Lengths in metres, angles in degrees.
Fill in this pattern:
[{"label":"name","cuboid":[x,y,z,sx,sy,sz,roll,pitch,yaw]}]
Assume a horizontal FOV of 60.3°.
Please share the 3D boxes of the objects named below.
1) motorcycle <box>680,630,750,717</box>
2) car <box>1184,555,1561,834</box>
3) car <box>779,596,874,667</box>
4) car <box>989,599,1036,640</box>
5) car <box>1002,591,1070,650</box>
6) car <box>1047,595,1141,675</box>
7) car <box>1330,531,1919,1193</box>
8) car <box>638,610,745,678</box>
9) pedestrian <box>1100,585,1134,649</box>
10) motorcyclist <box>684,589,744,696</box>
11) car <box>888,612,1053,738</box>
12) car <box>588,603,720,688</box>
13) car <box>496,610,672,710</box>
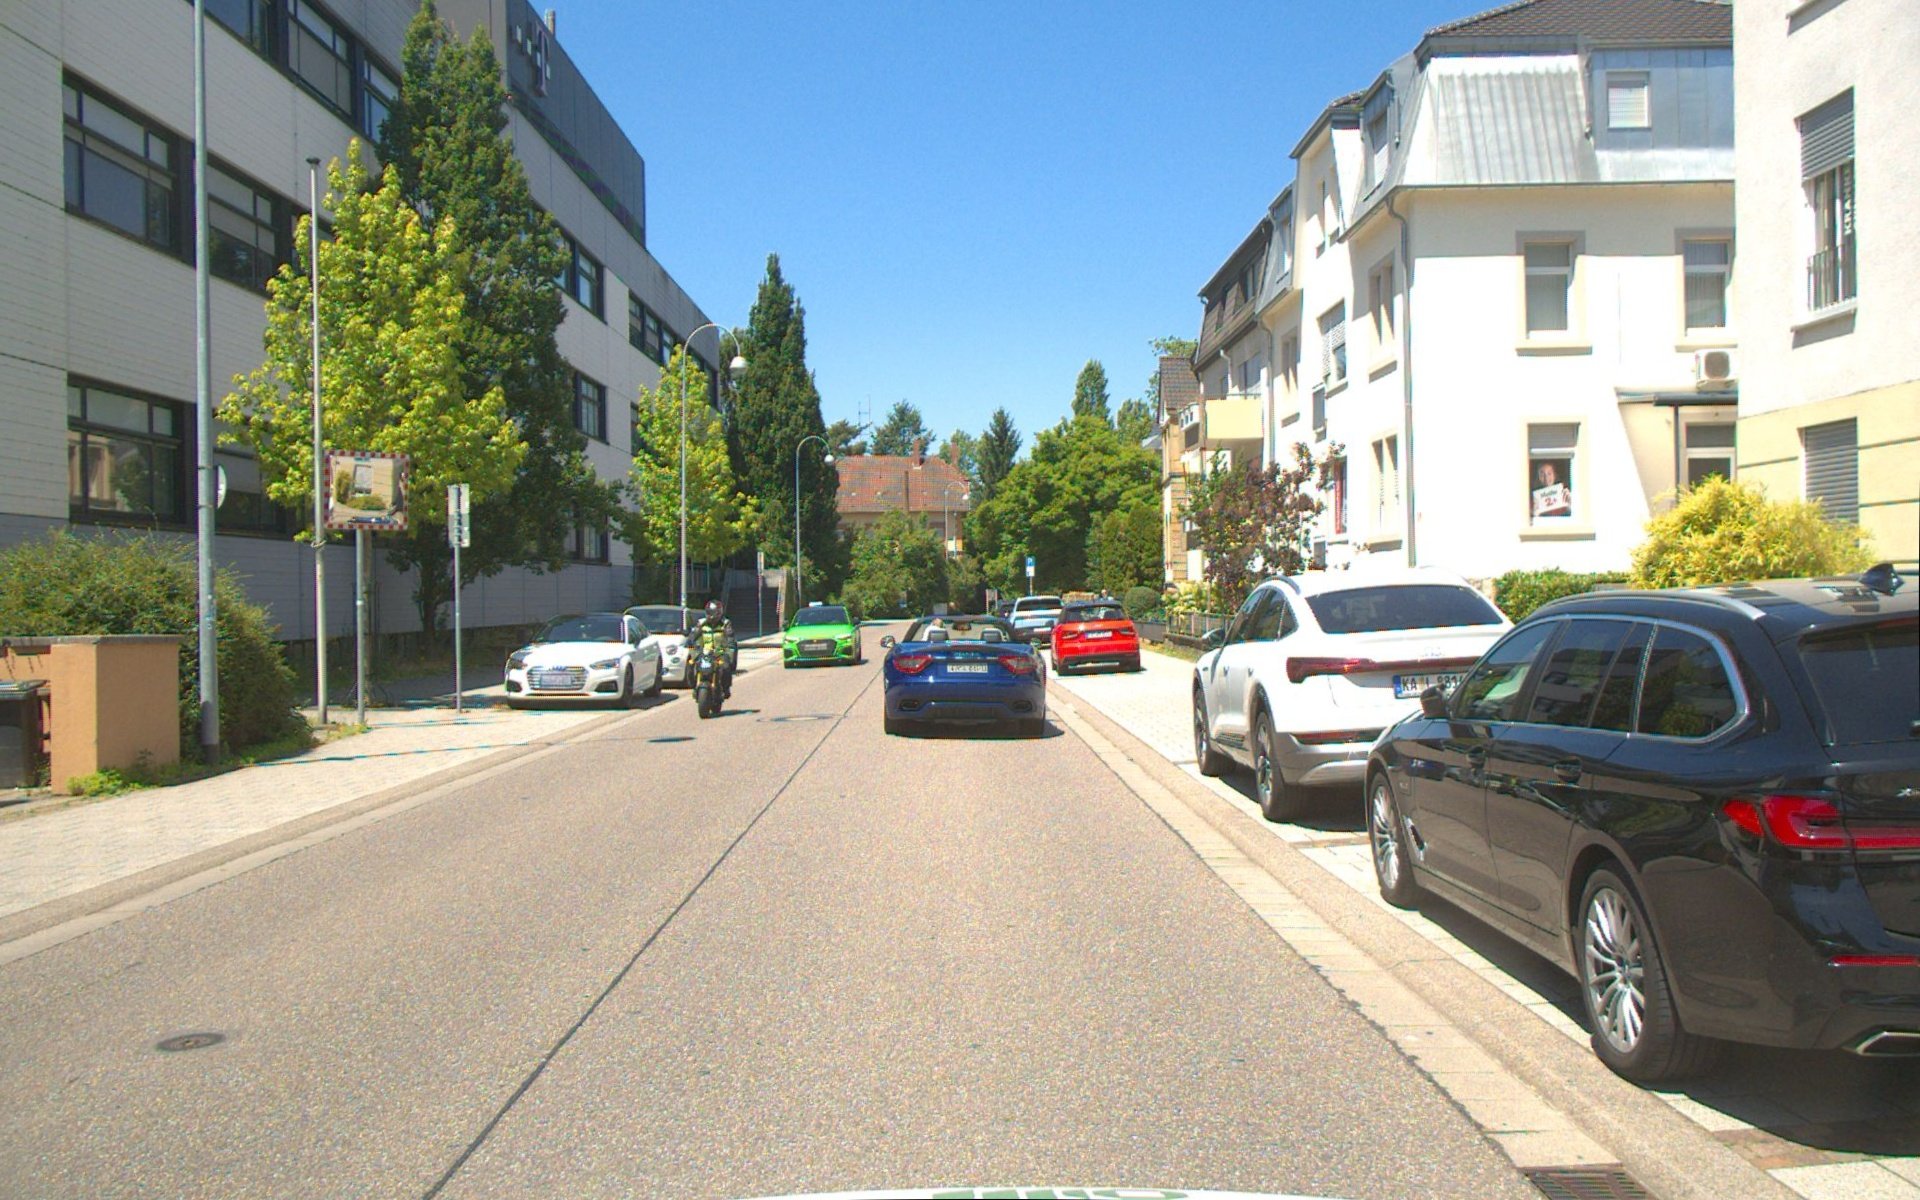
[{"label":"motorcycle","cuboid":[-3.448,1.018,23.396,0.684,1.126,1.790,-2,0,0]},{"label":"car","cuboid":[2.874,0.587,12.558,1.670,1.695,4.579,-1,0,0]},{"label":"car","cuboid":[-3.272,0.759,41.255,1.784,1.616,4.101,-2,0,3]},{"label":"car","cuboid":[2.039,0.743,65.495,1.598,1.471,4.397,-3,0,-1]},{"label":"car","cuboid":[2.304,0.611,51.064,1.806,1.647,4.427,-3,0,0]},{"label":"car","cuboid":[2.713,0.683,34.121,1.571,1.466,3.853,-4,0,0]},{"label":"car","cuboid":[2.878,0.598,6.450,1.671,1.583,4.747,-5,0,0]},{"label":"car","cuboid":[-5.943,0.942,36.944,1.712,1.434,3.933,0,0,0]},{"label":"pedestrian","cuboid":[4.271,0.461,44.997,0.725,1.699,0.705,-3,0,-2]},{"label":"motorcyclist","cuboid":[-3.456,0.593,23.271,0.684,1.458,0.707,-2,-1,-1]},{"label":"car","cuboid":[0.090,0.834,20.303,1.789,1.360,4.699,0,0,-1]},{"label":"car","cuboid":[-5.863,0.834,32.146,1.785,1.538,4.289,0,0,-1]},{"label":"car","cuboid":[-5.880,0.883,26.414,1.785,1.436,4.576,0,0,-1]}]
